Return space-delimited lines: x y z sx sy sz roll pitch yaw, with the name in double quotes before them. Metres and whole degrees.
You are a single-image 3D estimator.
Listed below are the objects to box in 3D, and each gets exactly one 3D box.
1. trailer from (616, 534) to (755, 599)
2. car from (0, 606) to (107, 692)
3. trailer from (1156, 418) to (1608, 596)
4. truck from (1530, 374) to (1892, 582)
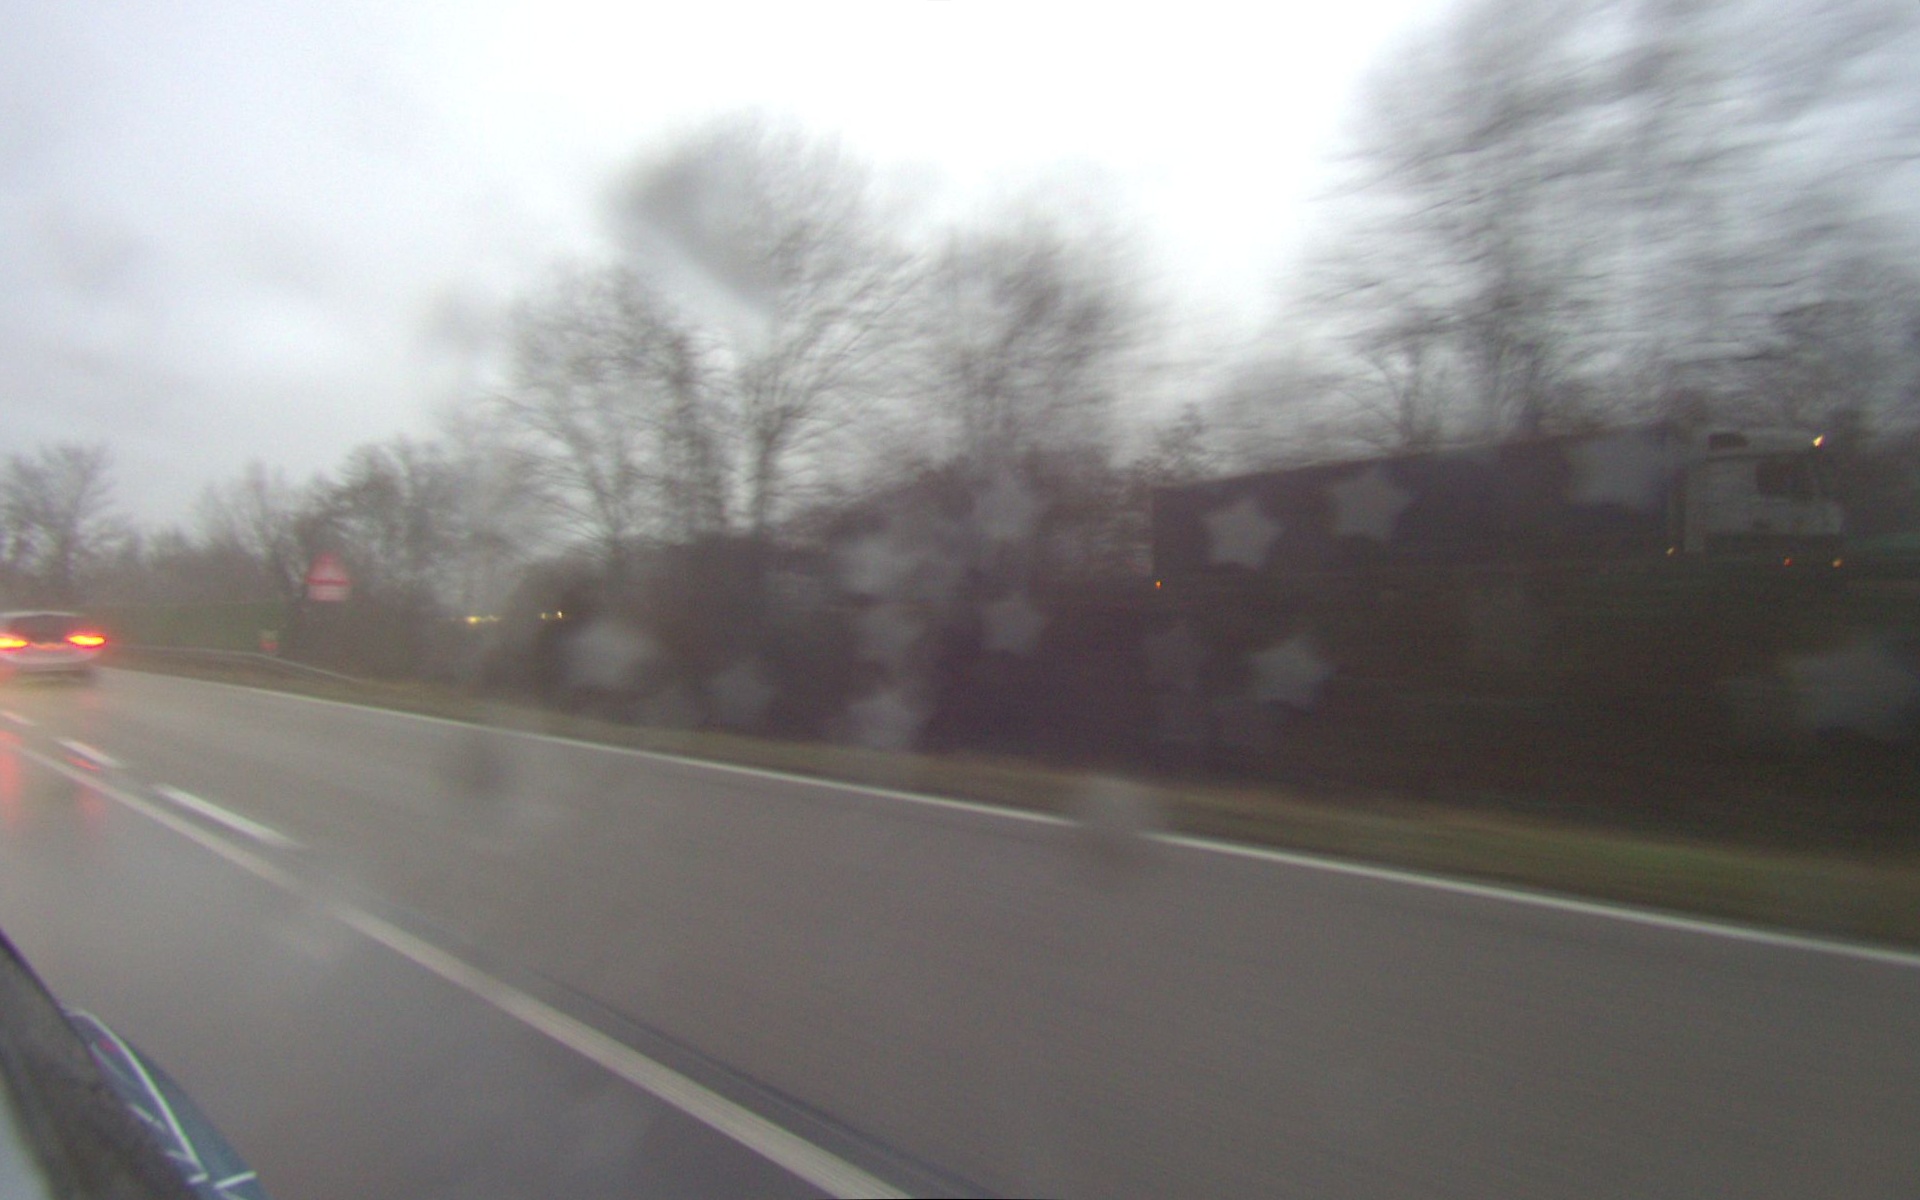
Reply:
"trailer" -15.490 -1.707 56.314 2.407 2.913 11.093 1 -3 -44
"car" -20.080 0.998 21.923 3.998 1.675 1.885 -1 0 41
"trailer" 11.144 -2.155 28.400 2.964 3.661 11.394 1 -3 -44
"truck" 16.659 -2.417 22.743 2.957 3.660 6.071 1 -3 -44
